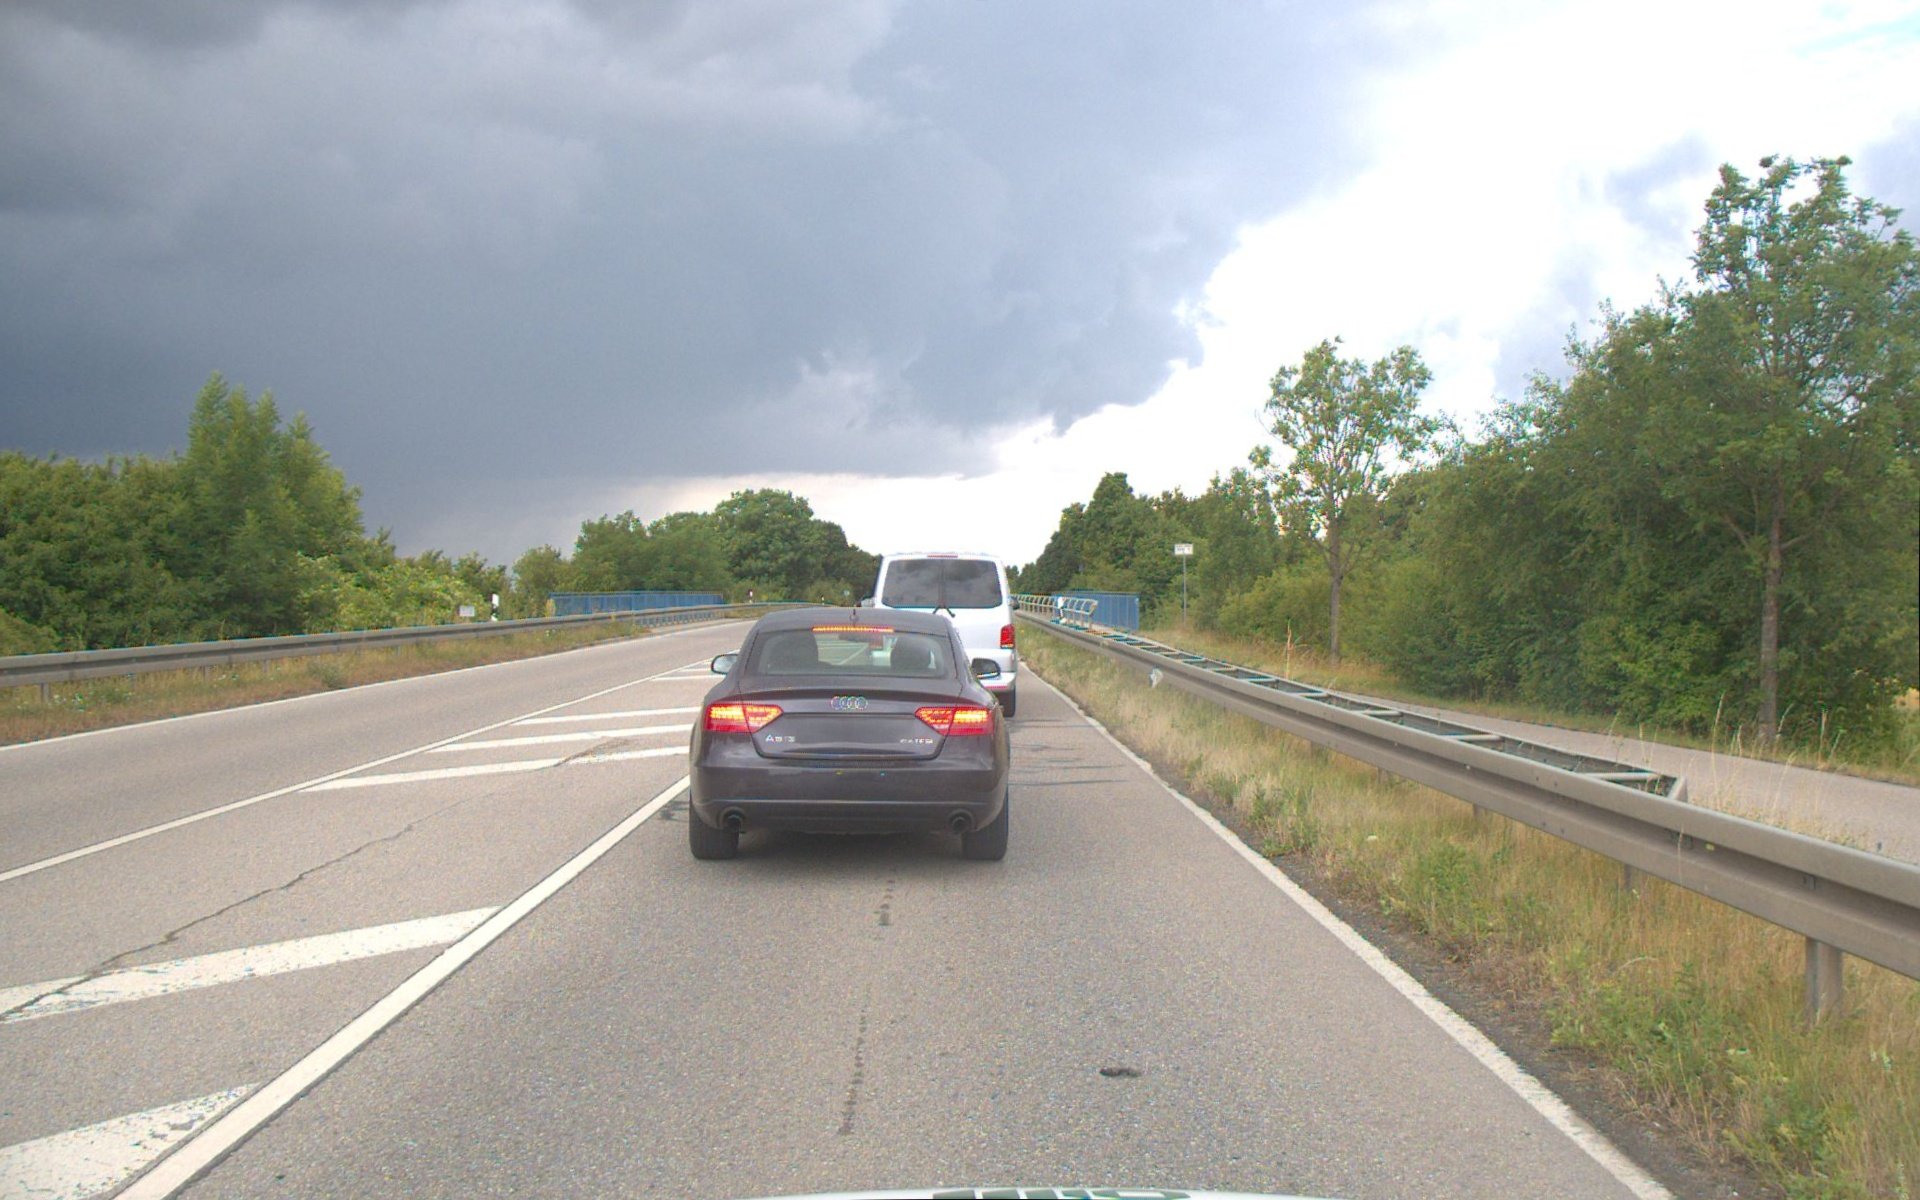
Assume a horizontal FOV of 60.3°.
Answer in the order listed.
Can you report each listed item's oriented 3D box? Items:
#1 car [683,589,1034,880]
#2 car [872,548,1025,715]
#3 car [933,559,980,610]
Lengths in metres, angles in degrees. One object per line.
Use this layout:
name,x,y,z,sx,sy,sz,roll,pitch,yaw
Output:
car,-0.543,0.689,10.362,1.749,1.448,3.999,1,0,-1
car,-0.168,0.376,21.231,1.749,1.923,3.999,1,0,-1
car,-0.194,-0.792,86.392,2.397,2.548,5.041,1,0,-1
